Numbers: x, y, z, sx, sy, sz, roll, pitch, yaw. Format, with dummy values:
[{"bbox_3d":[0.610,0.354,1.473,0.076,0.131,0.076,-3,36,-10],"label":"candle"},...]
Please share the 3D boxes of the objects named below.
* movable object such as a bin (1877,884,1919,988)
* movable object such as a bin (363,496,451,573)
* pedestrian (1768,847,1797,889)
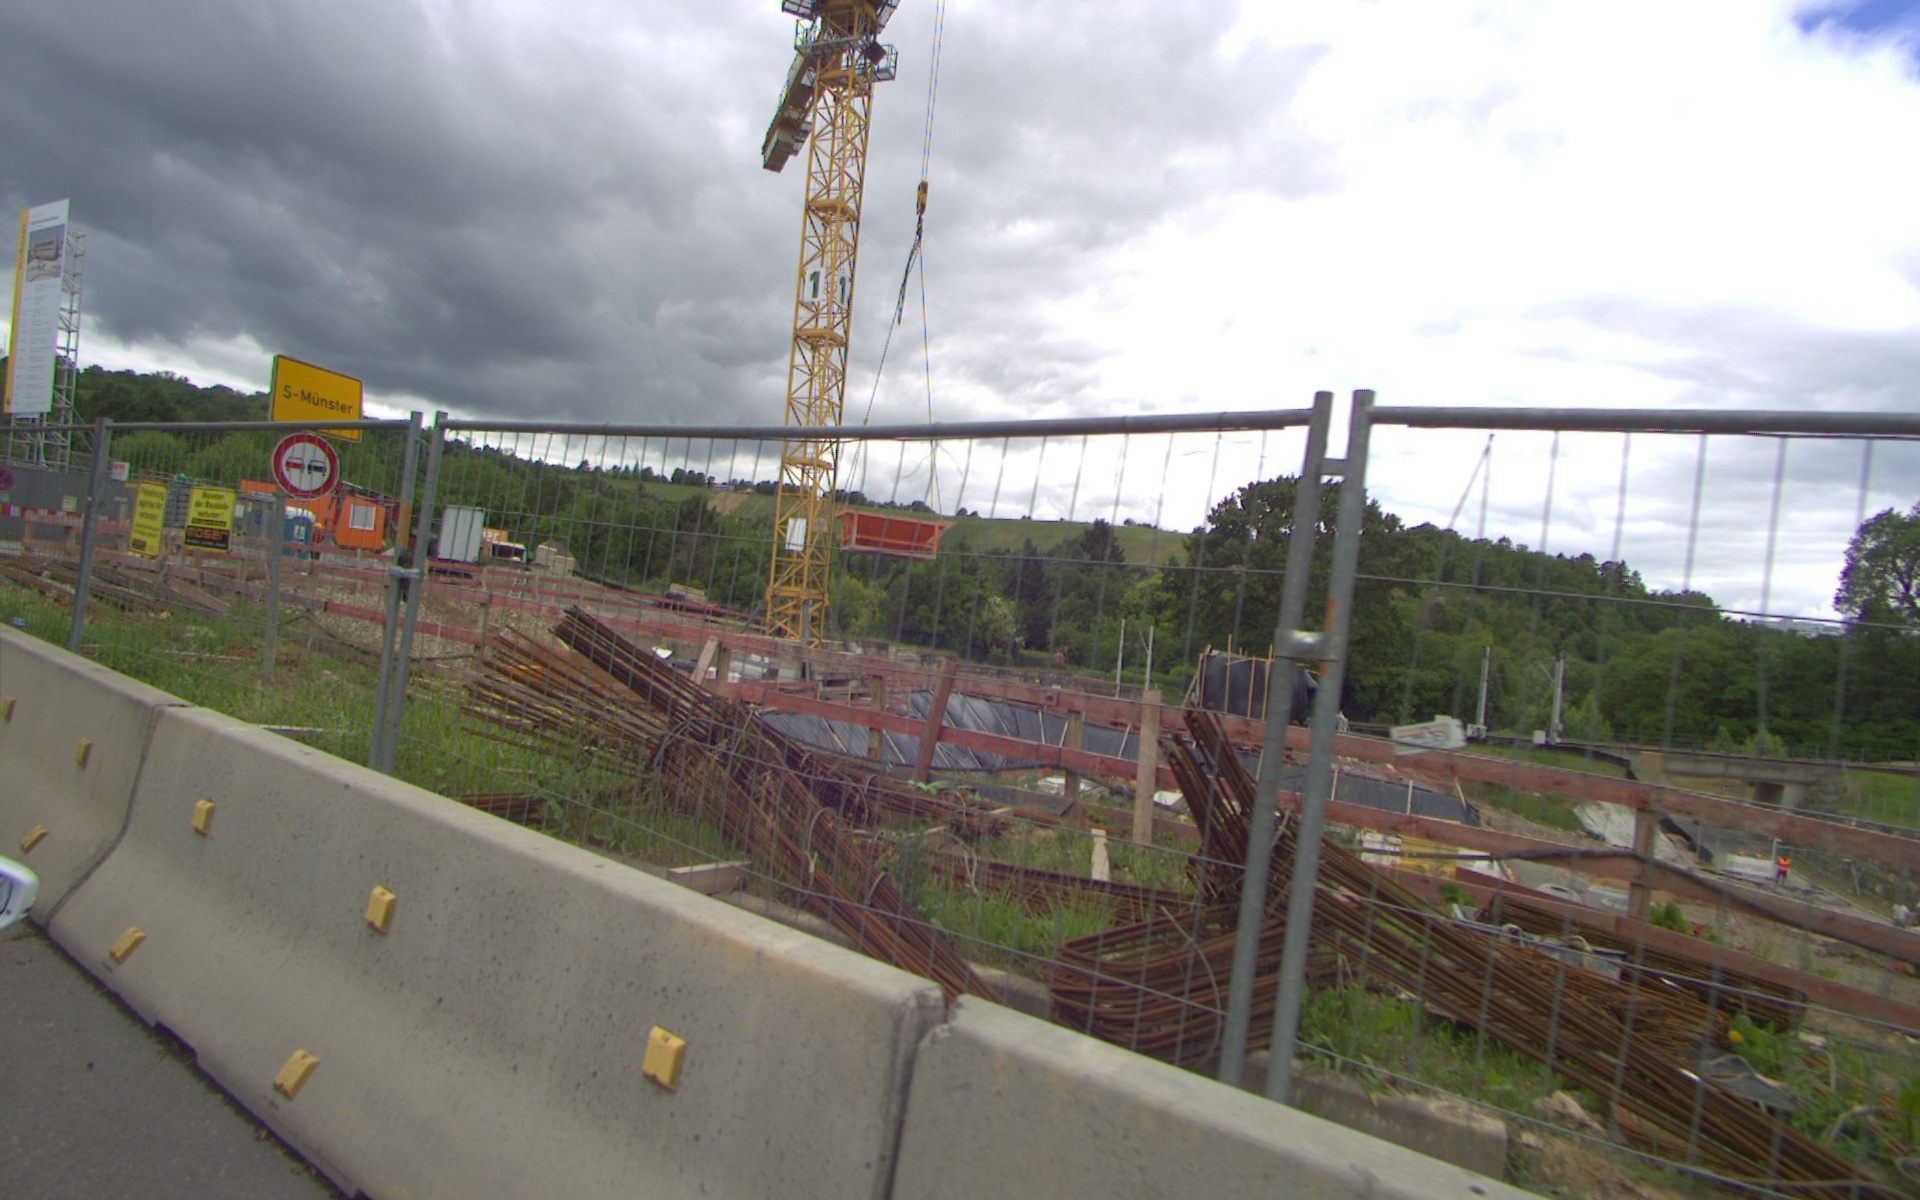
[{"bbox_3d":[33.296,11.478,33.537,2.997,2.780,4.284,6,-3,31],"label":"movable object such as a bin"},{"bbox_3d":[-25.180,-2.972,45.851,1.812,3.116,2.792,6,1,34],"label":"movable object such as a bin"},{"bbox_3d":[44.833,14.611,54.830,0.809,2.035,0.684,8,-3,13],"label":"pedestrian"}]
